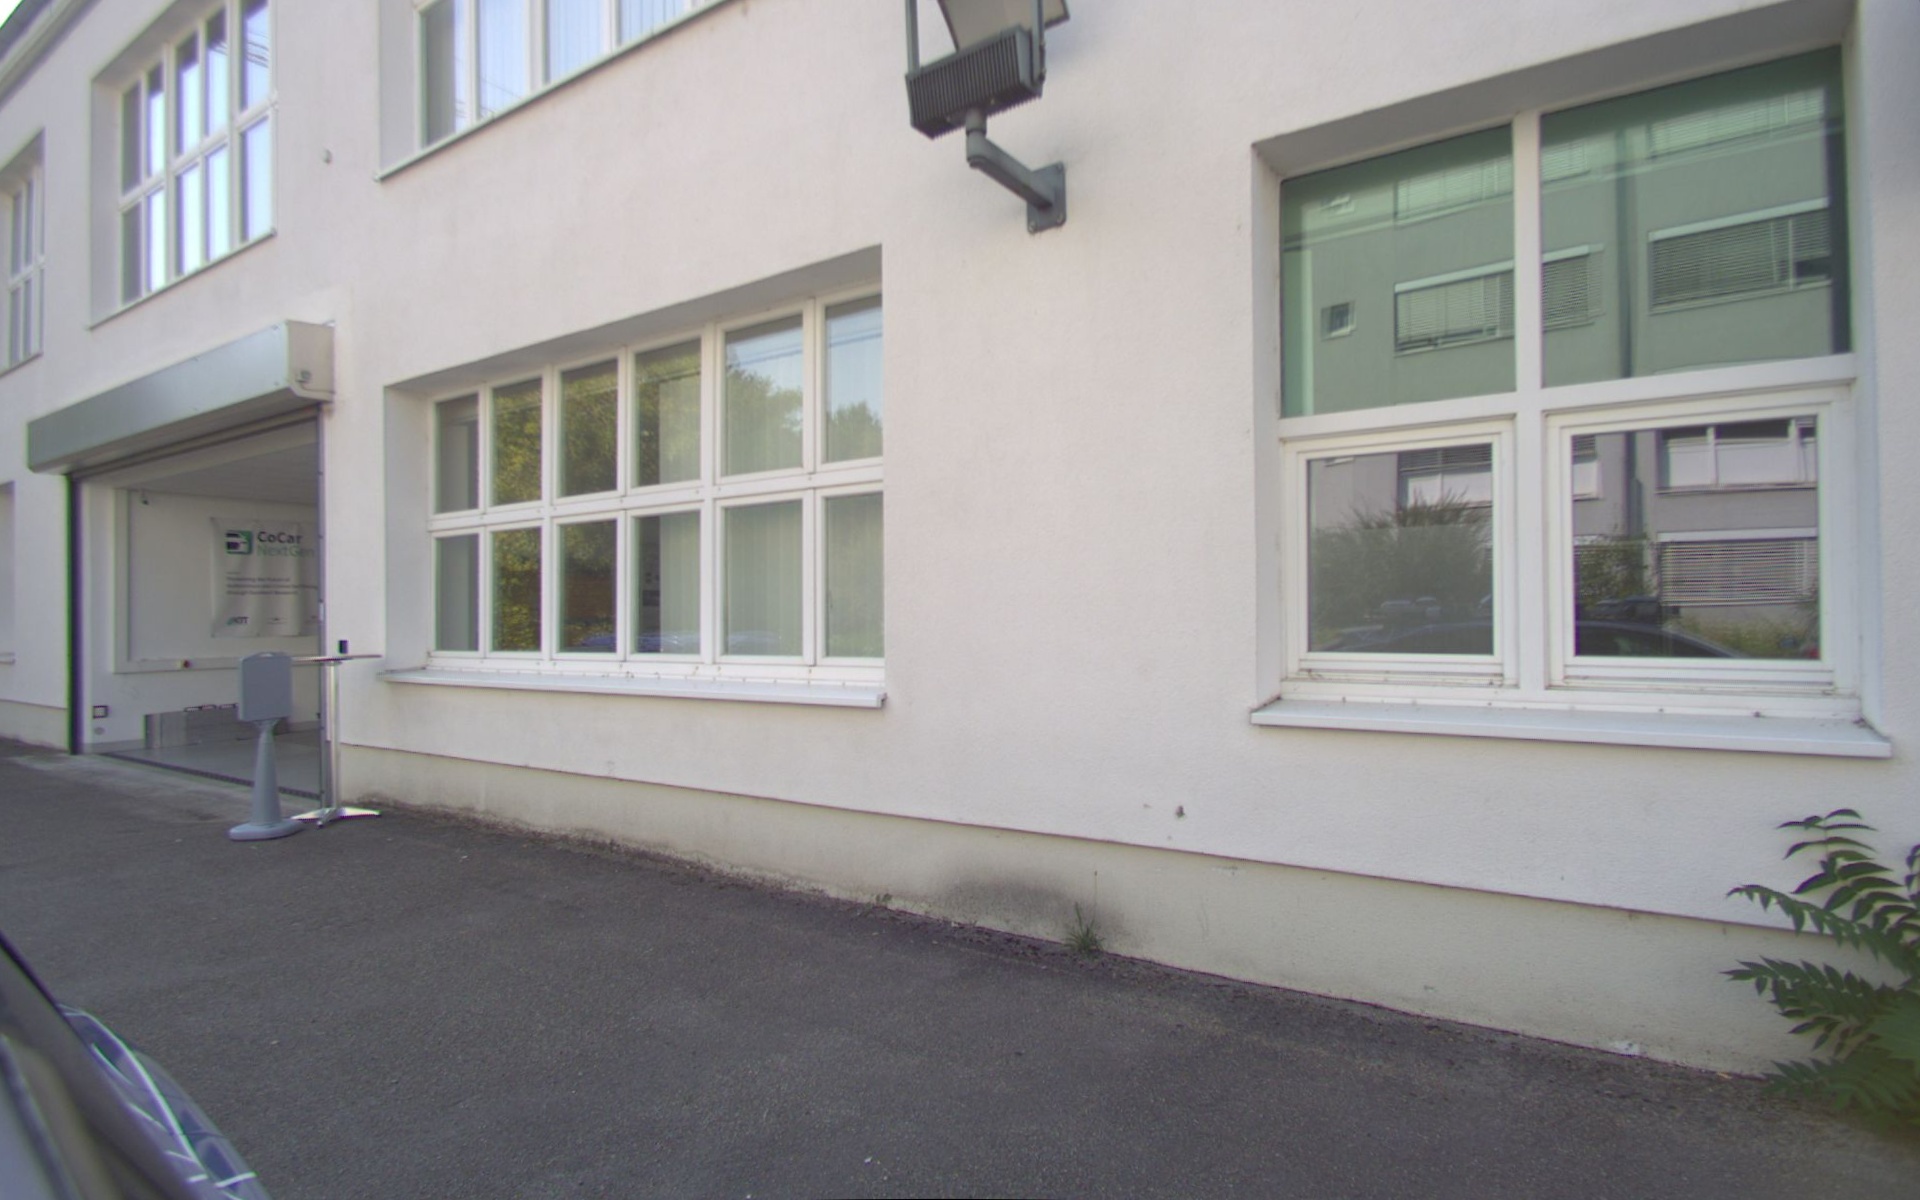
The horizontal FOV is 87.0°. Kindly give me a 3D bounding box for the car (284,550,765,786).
[{"bbox_3d":[-4.662,0.605,11.583,2.050,2.108,4.707,-1,0,34],"label":"car"}]
